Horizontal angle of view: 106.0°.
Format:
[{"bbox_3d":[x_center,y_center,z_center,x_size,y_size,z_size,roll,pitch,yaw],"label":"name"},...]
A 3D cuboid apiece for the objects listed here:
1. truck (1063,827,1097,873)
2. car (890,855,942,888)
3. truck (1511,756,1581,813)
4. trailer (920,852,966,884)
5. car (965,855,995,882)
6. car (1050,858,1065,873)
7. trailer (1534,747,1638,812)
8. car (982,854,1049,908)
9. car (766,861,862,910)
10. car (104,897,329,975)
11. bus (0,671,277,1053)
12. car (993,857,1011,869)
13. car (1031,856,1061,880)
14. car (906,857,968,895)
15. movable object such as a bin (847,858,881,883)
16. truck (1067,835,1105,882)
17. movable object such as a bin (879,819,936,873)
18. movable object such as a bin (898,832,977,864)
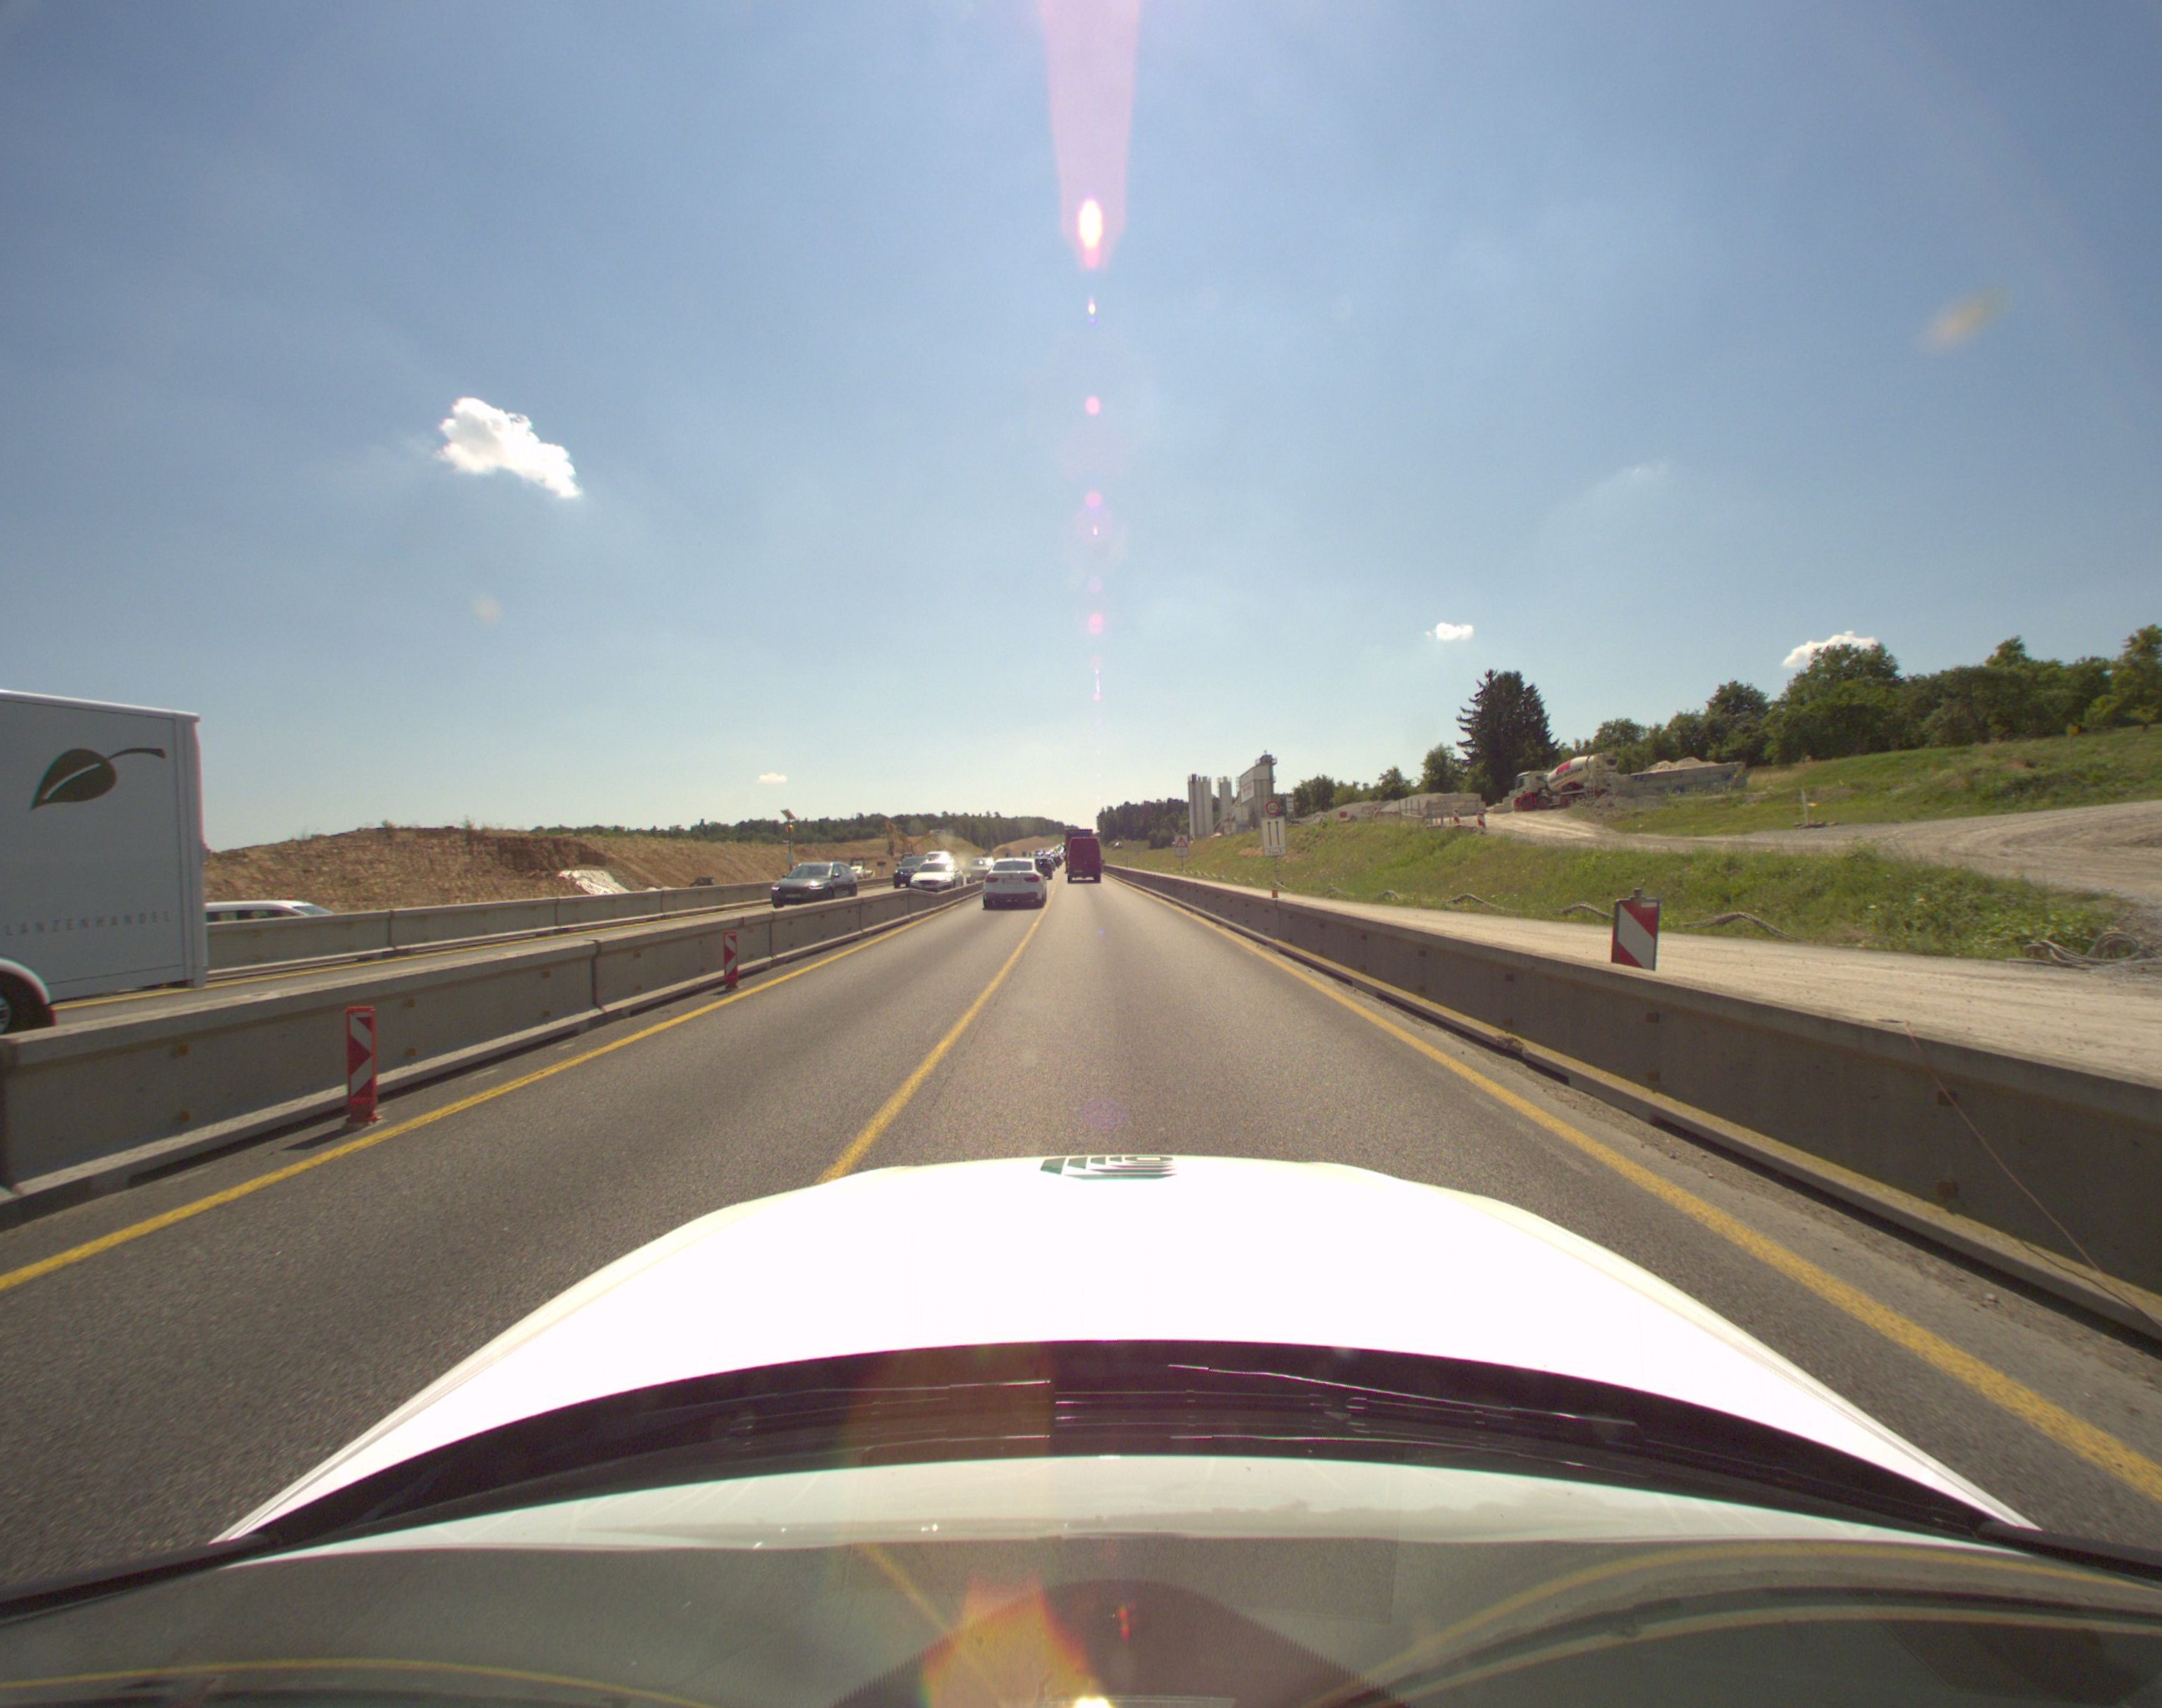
[{"bbox_3d":[-0.095,-0.324,79.566,3.006,4.153,8.270,-2,0,0],"label":"truck"},{"bbox_3d":[-9.103,0.944,45.276,1.917,1.679,4.715,-1,0,-1],"label":"car"},{"bbox_3d":[36.626,-5.402,64.343,2.745,4.095,4.086,-2,0,-10],"label":"truck"},{"bbox_3d":[-9.129,0.873,54.252,2.124,1.982,5.233,-2,0,-1],"label":"trailer"},{"bbox_3d":[-6.257,0.857,50.684,1.692,1.579,4.125,-2,0,-6],"label":"car"},{"bbox_3d":[-3.285,1.664,115.460,1.987,2.013,3.999,-2,0,-1],"label":"car"},{"bbox_3d":[37.283,-5.413,60.436,2.756,4.114,6.723,-2,0,-10],"label":"trailer"},{"bbox_3d":[-1.989,0.791,26.149,1.790,1.534,5.071,-1,0,-1],"label":"car"},{"bbox_3d":[-8.875,0.989,27.493,1.817,1.423,4.643,-2,0,-2],"label":"car"},{"bbox_3d":[-19.901,1.846,18.930,3.208,1.455,1.534,-2,0,-26],"label":"car"},{"bbox_3d":[-10.136,0.097,5.232,2.338,3.125,7.237,-2,0,4],"label":"bus"},{"bbox_3d":[-10.055,1.103,103.904,1.855,1.501,4.574,-2,0,-1],"label":"car"},{"bbox_3d":[-2.404,0.963,56.709,1.788,1.534,3.932,-2,0,1],"label":"car"},{"bbox_3d":[-6.068,0.897,34.782,1.810,1.455,4.633,-2,0,0],"label":"car"},{"bbox_3d":[-22.628,1.646,85.209,1.696,2.461,6.741,-2,0,-1],"label":"movable object such as a bin"},{"bbox_3d":[0.251,0.253,50.327,2.105,2.633,6.481,-2,0,-1],"label":"truck"},{"bbox_3d":[-25.910,-1.208,121.843,7.612,7.713,3.445,-2,0,0],"label":"movable object such as a bin"},{"bbox_3d":[-35.353,-1.582,200.821,18.670,7.231,3.611,-2,0,-3],"label":"movable object such as a bin"}]
